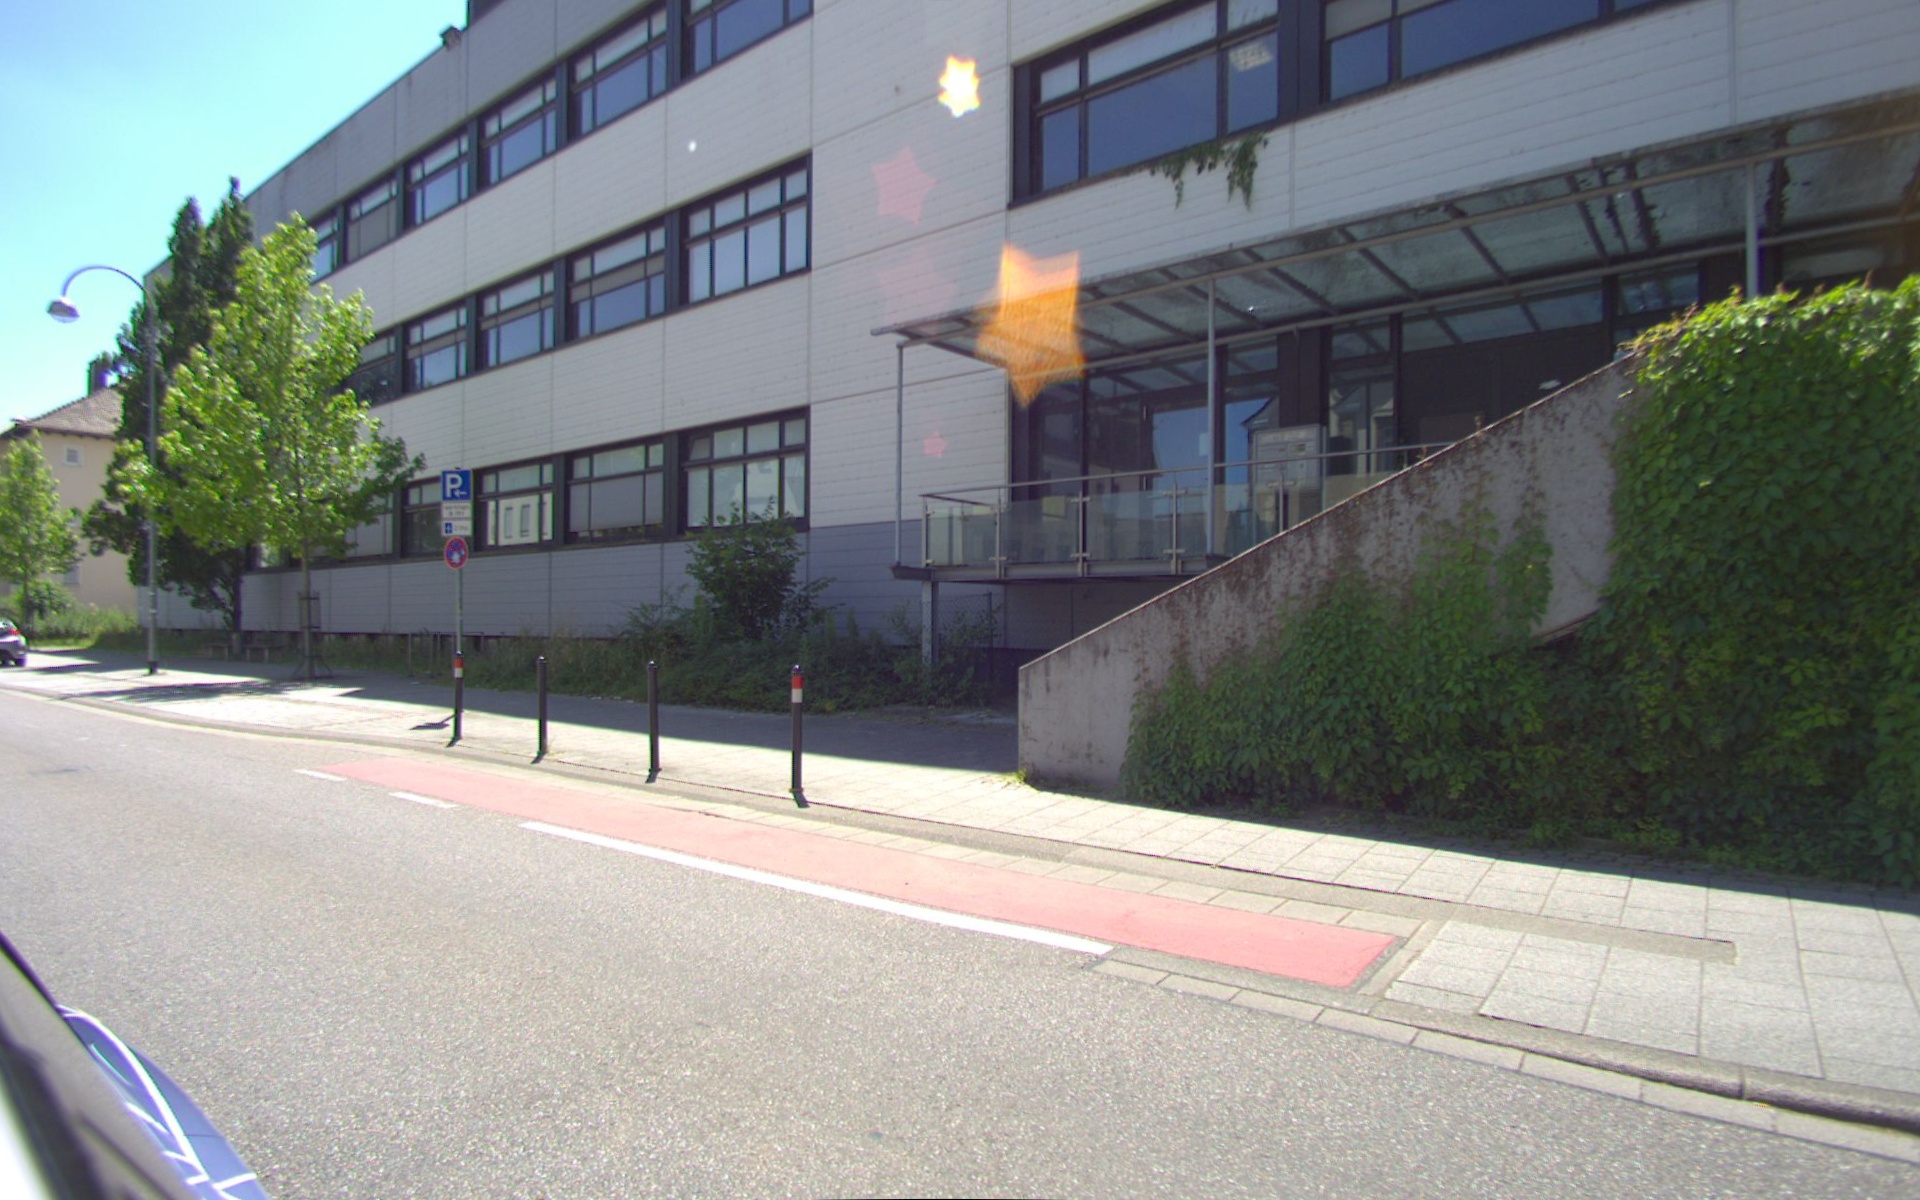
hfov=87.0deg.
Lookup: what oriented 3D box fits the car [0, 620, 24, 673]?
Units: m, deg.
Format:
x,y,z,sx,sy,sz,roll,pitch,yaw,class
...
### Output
x,y,z,sx,sy,sz,roll,pitch,yaw,class
-27.813,1.308,28.420,3.929,1.420,1.731,-1,0,39,car
